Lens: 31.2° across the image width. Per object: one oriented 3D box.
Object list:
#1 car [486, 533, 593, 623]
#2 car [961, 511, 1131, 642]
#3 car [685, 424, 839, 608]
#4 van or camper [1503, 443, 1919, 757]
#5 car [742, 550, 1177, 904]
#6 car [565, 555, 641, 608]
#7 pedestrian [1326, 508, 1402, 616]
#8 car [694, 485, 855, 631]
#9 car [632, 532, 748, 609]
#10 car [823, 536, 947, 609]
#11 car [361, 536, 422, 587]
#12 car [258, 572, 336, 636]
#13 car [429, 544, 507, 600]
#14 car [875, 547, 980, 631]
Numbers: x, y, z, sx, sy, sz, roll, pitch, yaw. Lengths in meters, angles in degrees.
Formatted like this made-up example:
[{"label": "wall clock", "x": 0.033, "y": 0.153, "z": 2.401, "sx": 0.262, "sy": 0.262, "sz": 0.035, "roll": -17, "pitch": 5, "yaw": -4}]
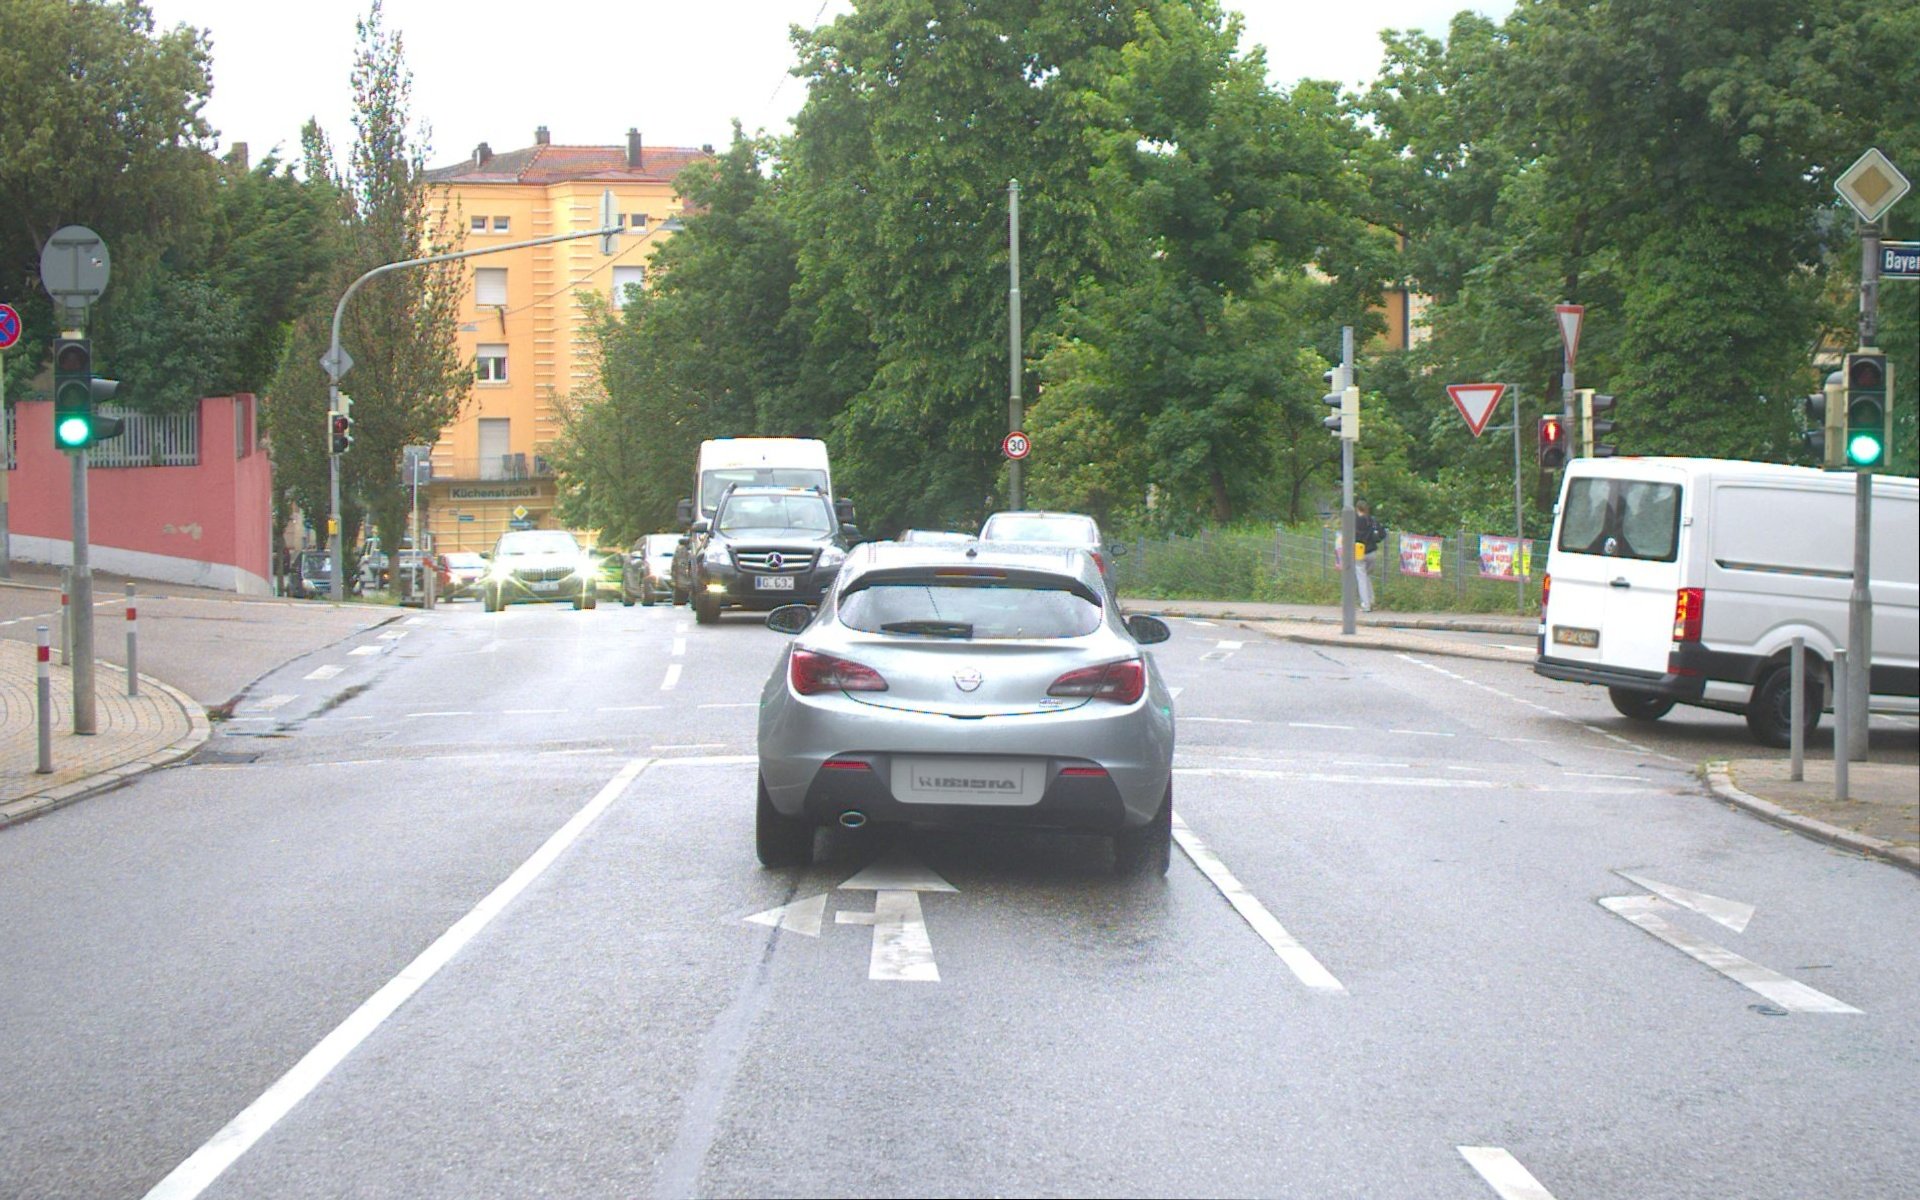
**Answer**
[{"label": "car", "x": -7.704, "y": -0.442, "z": 63.222, "sx": 1.852, "sy": 1.481, "sz": 5.368, "roll": -1, "pitch": 2, "yaw": -6}, {"label": "car", "x": 0.962, "y": -0.237, "z": 40.141, "sx": 1.776, "sy": 1.425, "sz": 3.785, "roll": -1, "pitch": -1, "yaw": -1}, {"label": "car", "x": -2.959, "y": -1.196, "z": 50.547, "sx": 2.117, "sy": 2.537, "sz": 5.540, "roll": -1, "pitch": 1, "yaw": -4}, {"label": "van or camper", "x": 7.634, "y": 0.067, "z": 29.914, "sx": 5.398, "sy": 2.317, "sz": 2.111, "roll": 4, "pitch": 4, "yaw": -30}, {"label": "car", "x": -0.038, "y": 0.504, "z": 16.399, "sx": 1.815, "sy": 1.425, "sz": 4.001, "roll": 0, "pitch": 2, "yaw": -1}, {"label": "car", "x": -10.500, "y": -0.552, "z": 100.883, "sx": 1.639, "sy": 1.531, "sz": 3.718, "roll": -1, "pitch": 1, "yaw": -15}, {"label": "pedestrian", "x": 6.167, "y": -0.573, "z": 52.515, "sx": 0.765, "sy": 1.600, "sz": 0.966, "roll": -3, "pitch": 1, "yaw": -16}, {"label": "car", "x": -2.270, "y": -0.549, "z": 41.700, "sx": 1.821, "sy": 1.646, "sz": 4.347, "roll": 1, "pitch": 2, "yaw": -4}, {"label": "car", "x": -5.576, "y": -0.594, "z": 70.526, "sx": 1.773, "sy": 1.492, "sz": 4.264, "roll": 1, "pitch": 0, "yaw": -12}, {"label": "car", "x": -1.811, "y": -0.629, "z": 81.443, "sx": 1.814, "sy": 1.490, "sz": 4.001, "roll": -6, "pitch": 1, "yaw": -16}, {"label": "car", "x": -21.679, "y": -1.445, "z": 131.032, "sx": 1.781, "sy": 1.849, "sz": 4.001, "roll": 0, "pitch": 0, "yaw": -17}, {"label": "car", "x": -17.400, "y": 0.110, "z": 90.107, "sx": 1.814, "sy": 1.607, "sz": 4.001, "roll": 1, "pitch": -1, "yaw": -14}, {"label": "car", "x": -14.900, "y": -0.842, "z": 103.983, "sx": 1.845, "sy": 1.578, "sz": 4.280, "roll": 2, "pitch": 0, "yaw": -14}, {"label": "car", "x": -0.597, "y": -0.218, "z": 60.196, "sx": 1.382, "sy": 1.407, "sz": 3.457, "roll": -1, "pitch": 1, "yaw": -8}]
